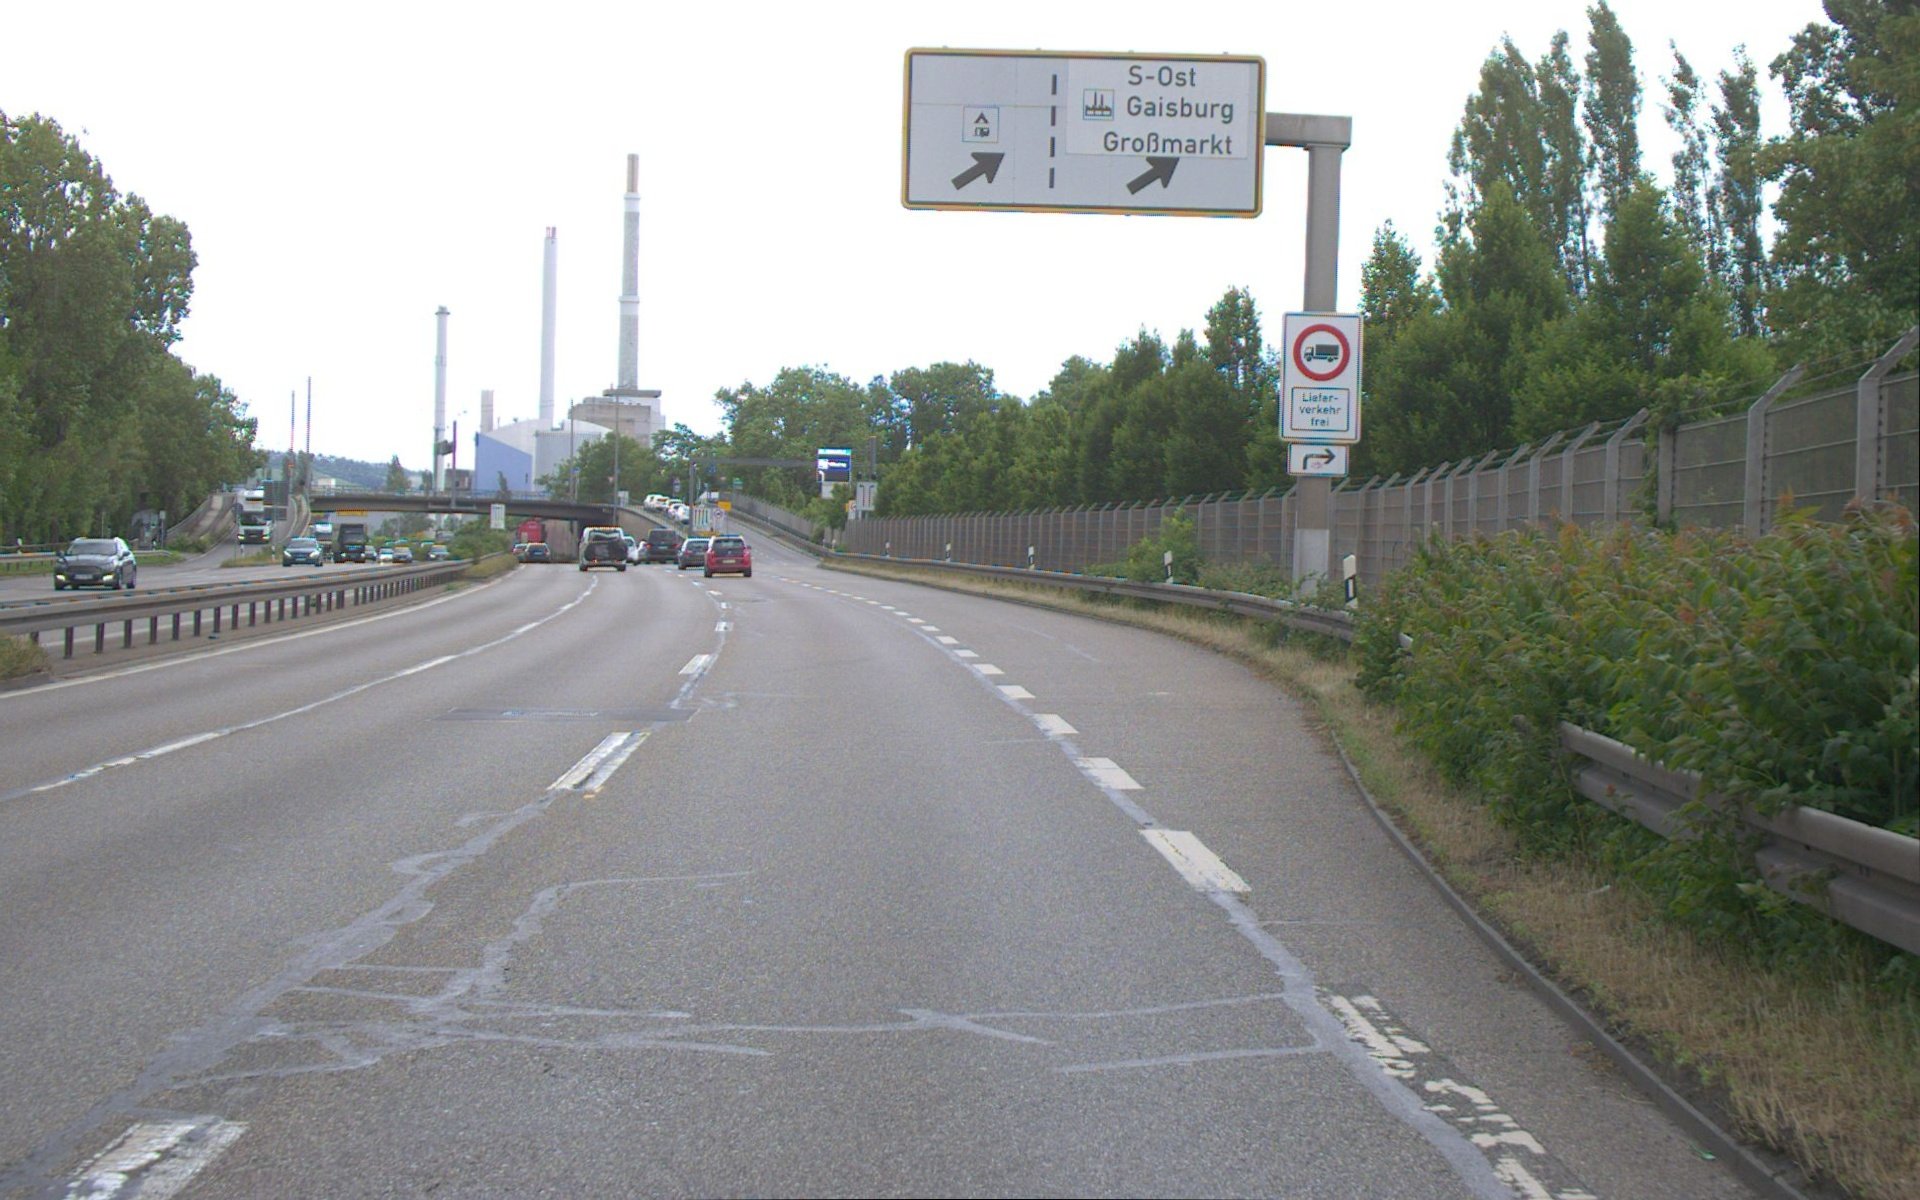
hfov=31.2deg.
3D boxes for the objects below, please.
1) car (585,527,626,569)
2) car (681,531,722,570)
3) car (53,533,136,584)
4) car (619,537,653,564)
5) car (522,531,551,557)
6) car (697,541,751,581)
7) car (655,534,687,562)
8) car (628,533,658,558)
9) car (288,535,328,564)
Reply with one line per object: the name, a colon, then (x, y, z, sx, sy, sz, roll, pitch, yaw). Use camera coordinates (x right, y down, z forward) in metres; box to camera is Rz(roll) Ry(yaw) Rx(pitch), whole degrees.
car: (-15.184, -2.229, 147.072, 1.697, 1.736, 4.001, 0, 1, -6)
car: (-11.747, -2.257, 156.332, 1.697, 1.736, 4.394, 0, 1, -6)
car: (-24.840, -1.206, 98.759, 1.697, 1.408, 4.639, 0, 1, -6)
car: (-16.986, -2.603, 180.038, 1.697, 1.385, 4.399, 0, 1, -6)
car: (-28.760, -3.808, 233.443, 1.697, 1.736, 4.394, 0, 1, -11)
car: (-8.856, -1.477, 128.902, 1.974, 1.418, 4.901, 0, 1, -4)
car: (-16.482, -2.997, 195.828, 1.697, 1.550, 4.399, 0, 1, -6)
car: (-20.072, -3.459, 217.451, 1.697, 1.550, 4.399, 0, 1, -7)
car: (-32.612, -2.519, 172.120, 1.697, 1.408, 4.639, 0, 1, -7)
